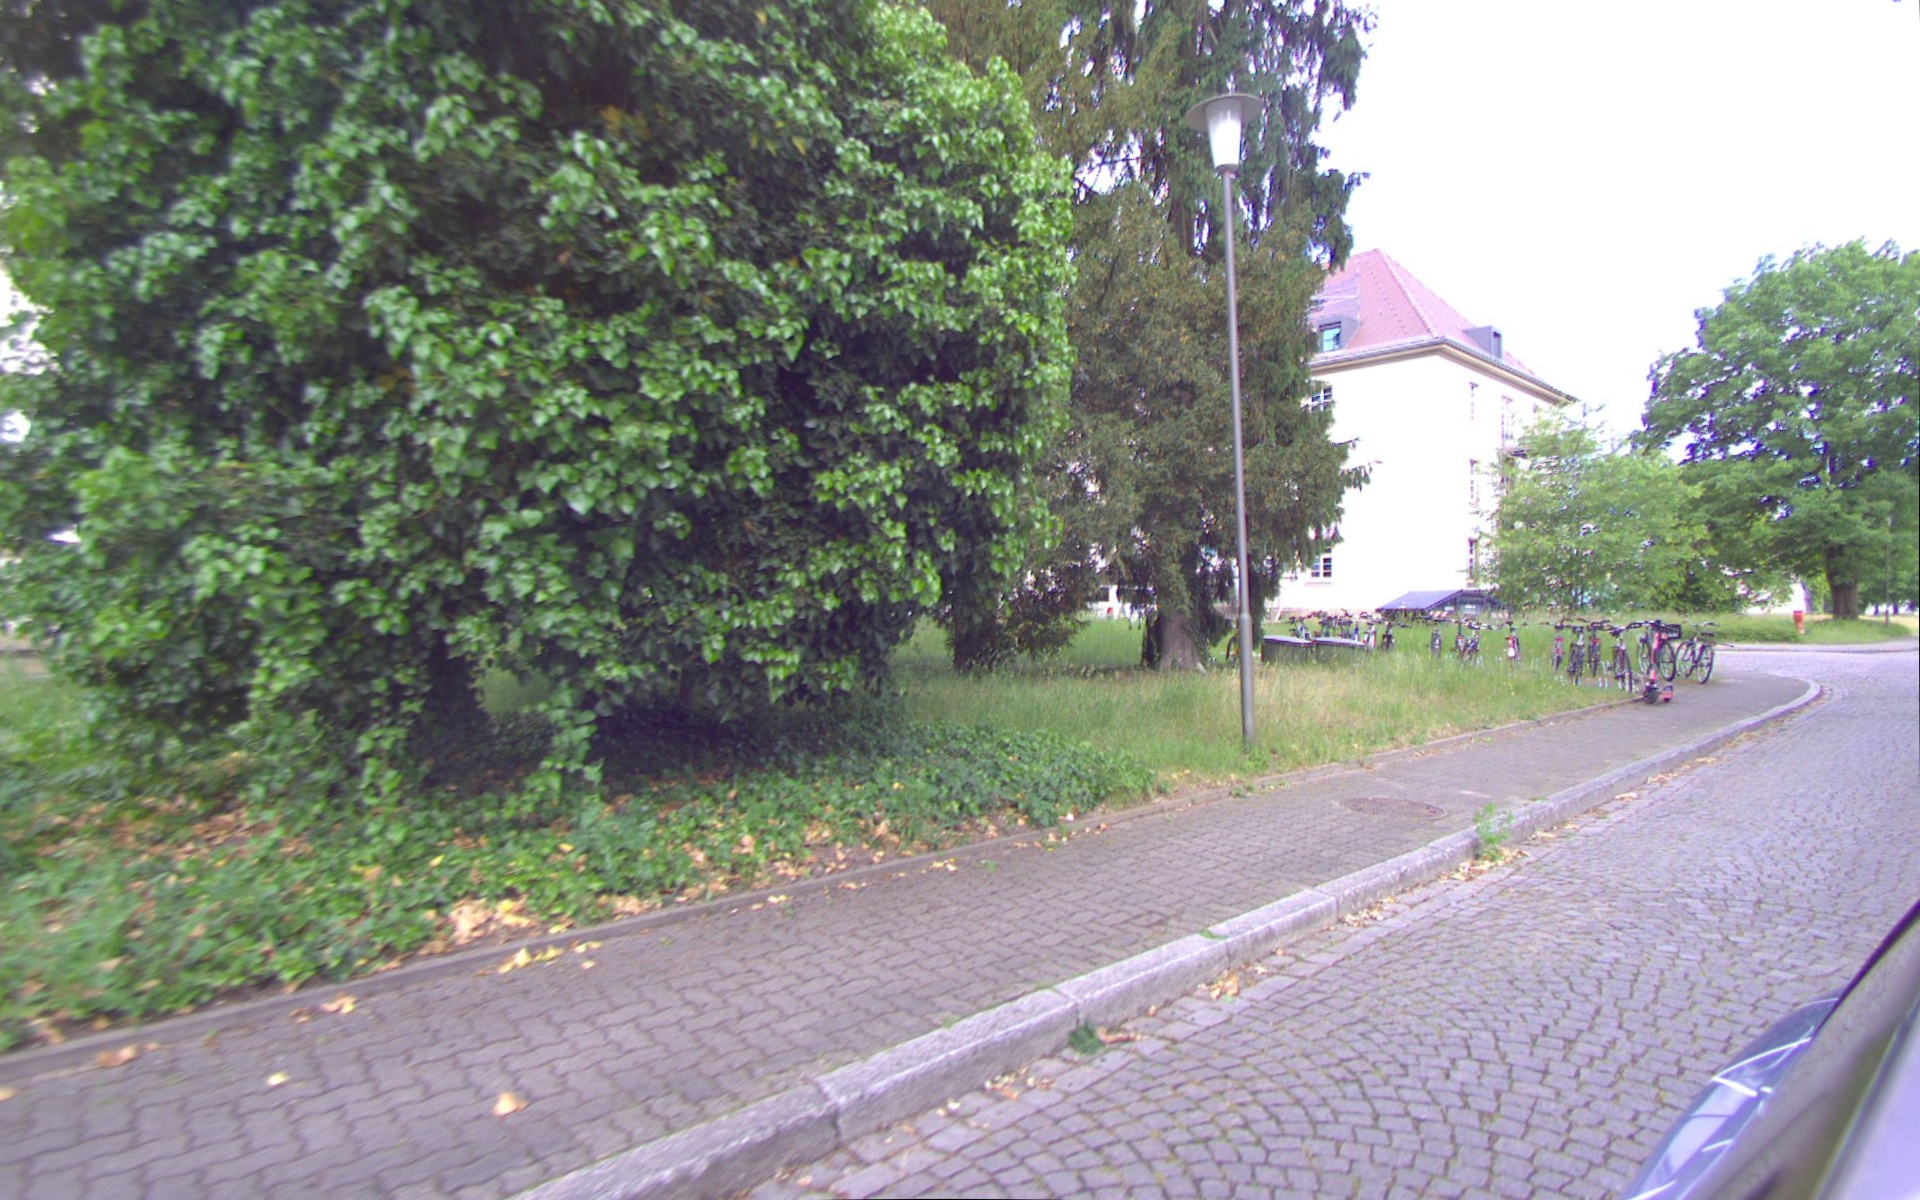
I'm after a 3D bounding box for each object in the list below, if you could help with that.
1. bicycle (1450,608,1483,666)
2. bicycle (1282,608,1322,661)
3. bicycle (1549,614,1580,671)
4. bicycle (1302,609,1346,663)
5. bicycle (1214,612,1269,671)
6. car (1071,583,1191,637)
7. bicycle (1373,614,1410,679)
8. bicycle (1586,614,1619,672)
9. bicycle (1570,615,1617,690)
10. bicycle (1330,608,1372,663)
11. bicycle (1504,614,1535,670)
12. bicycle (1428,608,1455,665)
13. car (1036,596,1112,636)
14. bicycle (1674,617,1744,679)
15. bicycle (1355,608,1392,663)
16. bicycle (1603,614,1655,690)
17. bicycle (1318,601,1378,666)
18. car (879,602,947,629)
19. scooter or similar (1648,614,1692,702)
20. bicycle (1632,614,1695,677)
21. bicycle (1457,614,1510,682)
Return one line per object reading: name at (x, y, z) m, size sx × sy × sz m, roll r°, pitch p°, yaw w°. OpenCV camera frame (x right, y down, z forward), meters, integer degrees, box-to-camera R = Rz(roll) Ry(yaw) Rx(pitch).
bicycle at (10.344, 0.731, 20.652) m, size 0.474 × 1.126 × 1.746 m, roll -1°, pitch -1°, yaw 31°
bicycle at (7.641, 0.754, 22.587) m, size 0.474 × 1.126 × 1.746 m, roll -1°, pitch -1°, yaw 31°
bicycle at (11.830, 0.807, 19.812) m, size 0.474 × 1.020 × 1.649 m, roll -1°, pitch 1°, yaw 31°
bicycle at (7.935, 0.754, 22.042) m, size 0.439 × 1.126 × 1.630 m, roll -1°, pitch -1°, yaw 37°
bicycle at (5.427, 0.773, 19.429) m, size 0.547 × 1.055 × 1.663 m, roll -1°, pitch -1°, yaw 33°
car at (6.808, 0.367, 39.923) m, size 5.187 × 2.022 × 1.964 m, roll 0°, pitch 0°, yaw -43°
bicycle at (7.693, 0.797, 18.081) m, size 0.545 × 1.078 × 1.741 m, roll 0°, pitch 0°, yaw 22°
bicycle at (12.317, 0.802, 19.430) m, size 0.474 × 1.020 × 1.649 m, roll -1°, pitch 1°, yaw 31°
bicycle at (10.287, 0.815, 16.473) m, size 0.546 × 1.128 × 1.786 m, roll -1°, pitch 0°, yaw 29°
bicycle at (8.455, 0.752, 21.856) m, size 0.439 × 1.126 × 1.630 m, roll -1°, pitch -1°, yaw 37°
bicycle at (11.255, 0.813, 20.331) m, size 0.474 × 1.020 × 1.649 m, roll -1°, pitch 1°, yaw 31°
bicycle at (10.019, 0.736, 21.079) m, size 0.473 × 1.126 × 1.750 m, roll -1°, pitch 0°, yaw 25°
car at (4.670, 0.633, 41.299) m, size 3.194 × 1.546 × 1.308 m, roll 0°, pitch 0°, yaw -43°
bicycle at (13.727, 0.857, 18.585) m, size 0.471 × 1.020 × 1.614 m, roll -1°, pitch 1°, yaw 16°
bicycle at (8.885, 0.744, 21.716) m, size 0.474 × 1.126 × 1.746 m, roll -1°, pitch -1°, yaw 31°
bicycle at (10.736, 0.808, 16.274) m, size 0.546 × 1.128 × 1.751 m, roll -1°, pitch -1°, yaw 29°
bicycle at (7.421, 0.612, 19.312) m, size 0.549 × 1.186 × 1.729 m, roll -1°, pitch -1°, yaw 39°
car at (-2.210, 0.722, 48.210) m, size 3.194 × 1.233 × 1.294 m, roll 0°, pitch 0°, yaw -43°
scooter or similar at (10.408, 0.827, 14.823) m, size 0.356 × 1.225 × 1.120 m, roll -1°, pitch -1°, yaw 43°
bicycle at (13.274, 0.840, 19.130) m, size 0.471 × 1.087 × 1.614 m, roll -1°, pitch 1°, yaw 16°
bicycle at (8.984, 0.789, 17.408) m, size 0.611 × 1.078 × 1.812 m, roll 0°, pitch 0°, yaw 22°
